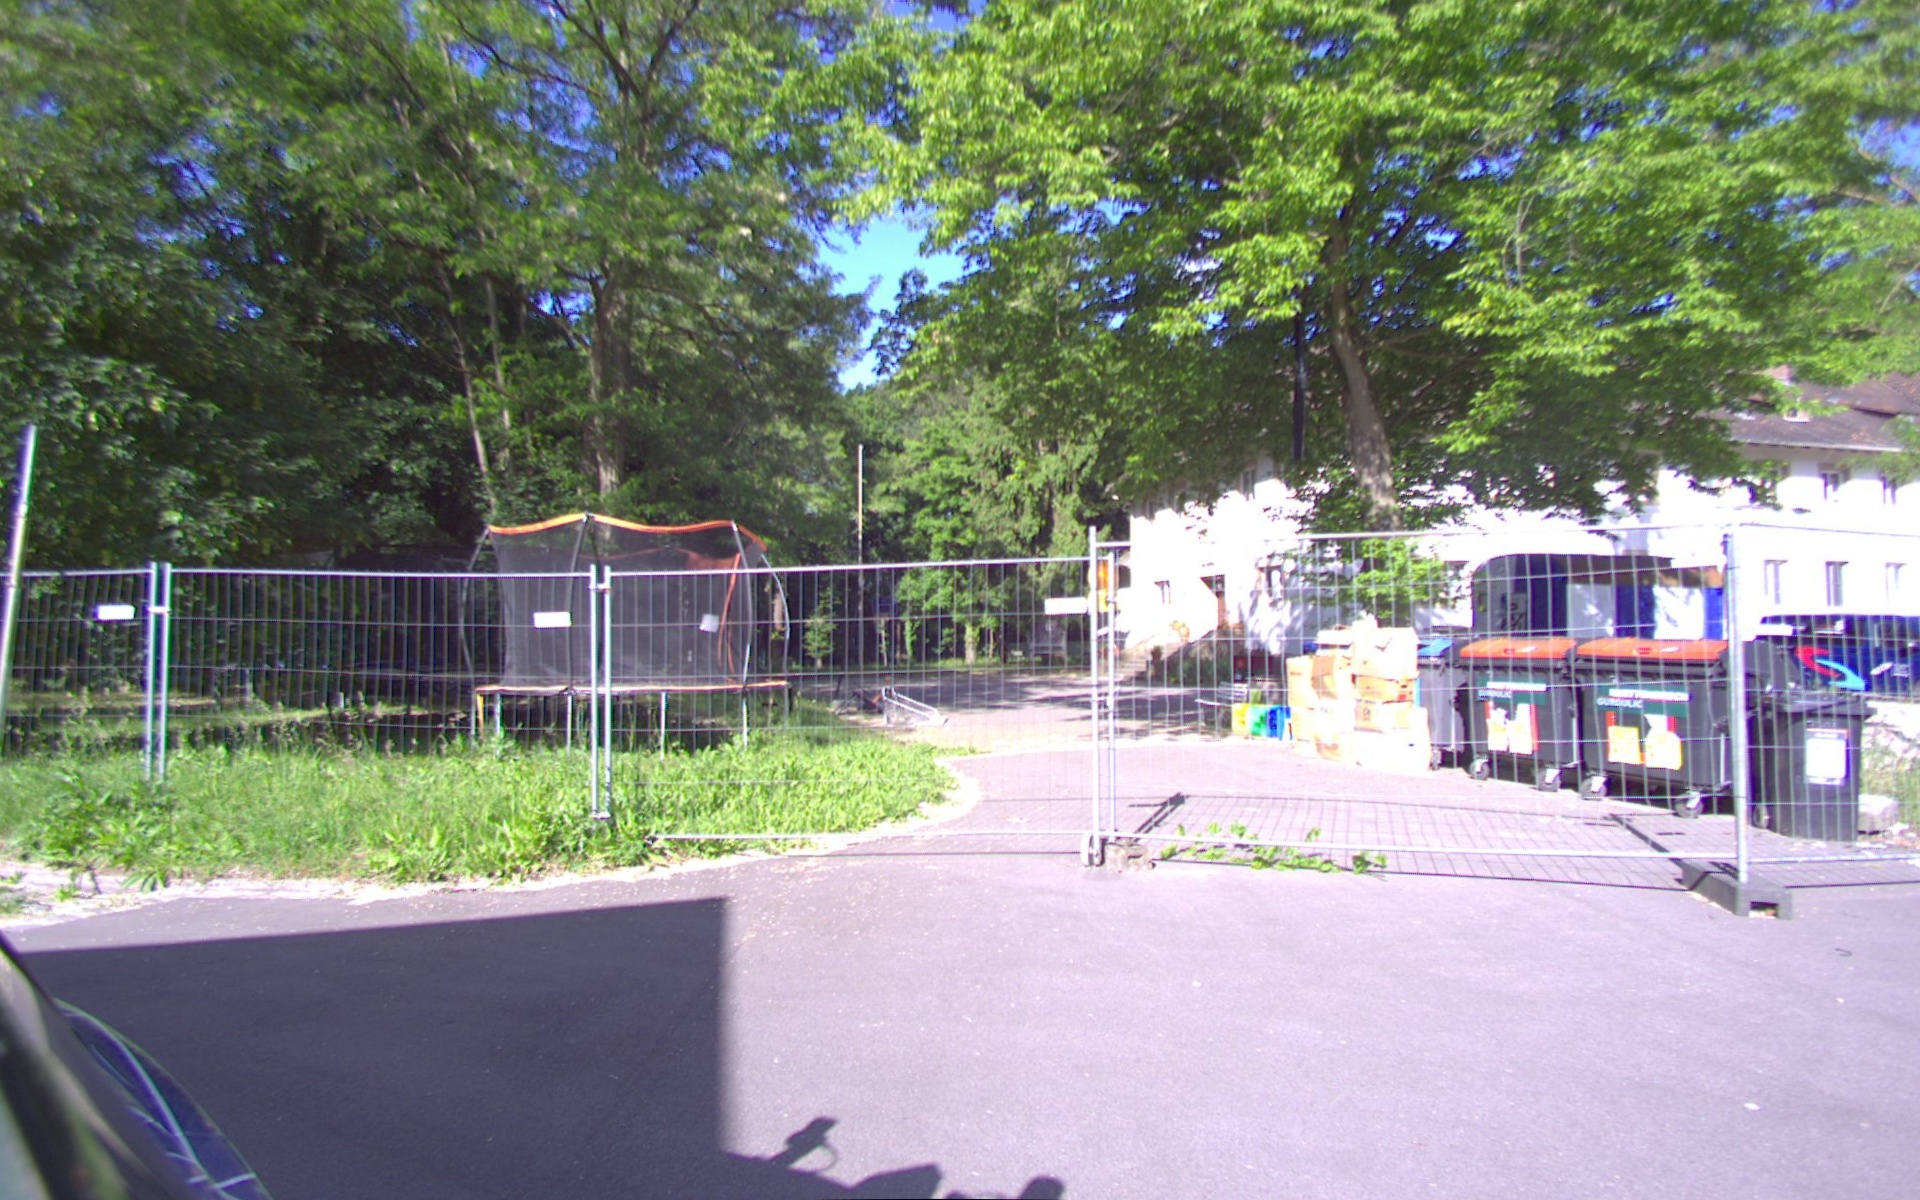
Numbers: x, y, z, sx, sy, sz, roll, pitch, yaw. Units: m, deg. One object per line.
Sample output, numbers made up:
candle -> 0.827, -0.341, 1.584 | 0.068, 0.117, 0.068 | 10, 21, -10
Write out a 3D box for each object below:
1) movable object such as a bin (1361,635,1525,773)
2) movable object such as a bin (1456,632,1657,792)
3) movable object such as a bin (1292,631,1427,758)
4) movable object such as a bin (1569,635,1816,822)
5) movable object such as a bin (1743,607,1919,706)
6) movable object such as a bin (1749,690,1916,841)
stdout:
movable object such as a bin -> 5.365, 1.117, 11.327 | 1.015, 1.437, 1.295 | 1, -3, -17
movable object such as a bin -> 5.750, 1.039, 9.847 | 1.015, 1.437, 1.295 | 1, -3, -17
movable object such as a bin -> 4.797, 1.114, 12.229 | 1.038, 1.449, 1.090 | 0, -3, -12
movable object such as a bin -> 6.148, 1.024, 8.582 | 1.014, 1.437, 1.295 | 1, -3, -18
movable object such as a bin -> 19.806, 1.180, 21.379 | 1.900, 1.985, 4.901 | 1, -3, -17
movable object such as a bin -> 6.292, 1.172, 7.329 | 0.596, 1.015, 0.643 | 0, -3, 1
